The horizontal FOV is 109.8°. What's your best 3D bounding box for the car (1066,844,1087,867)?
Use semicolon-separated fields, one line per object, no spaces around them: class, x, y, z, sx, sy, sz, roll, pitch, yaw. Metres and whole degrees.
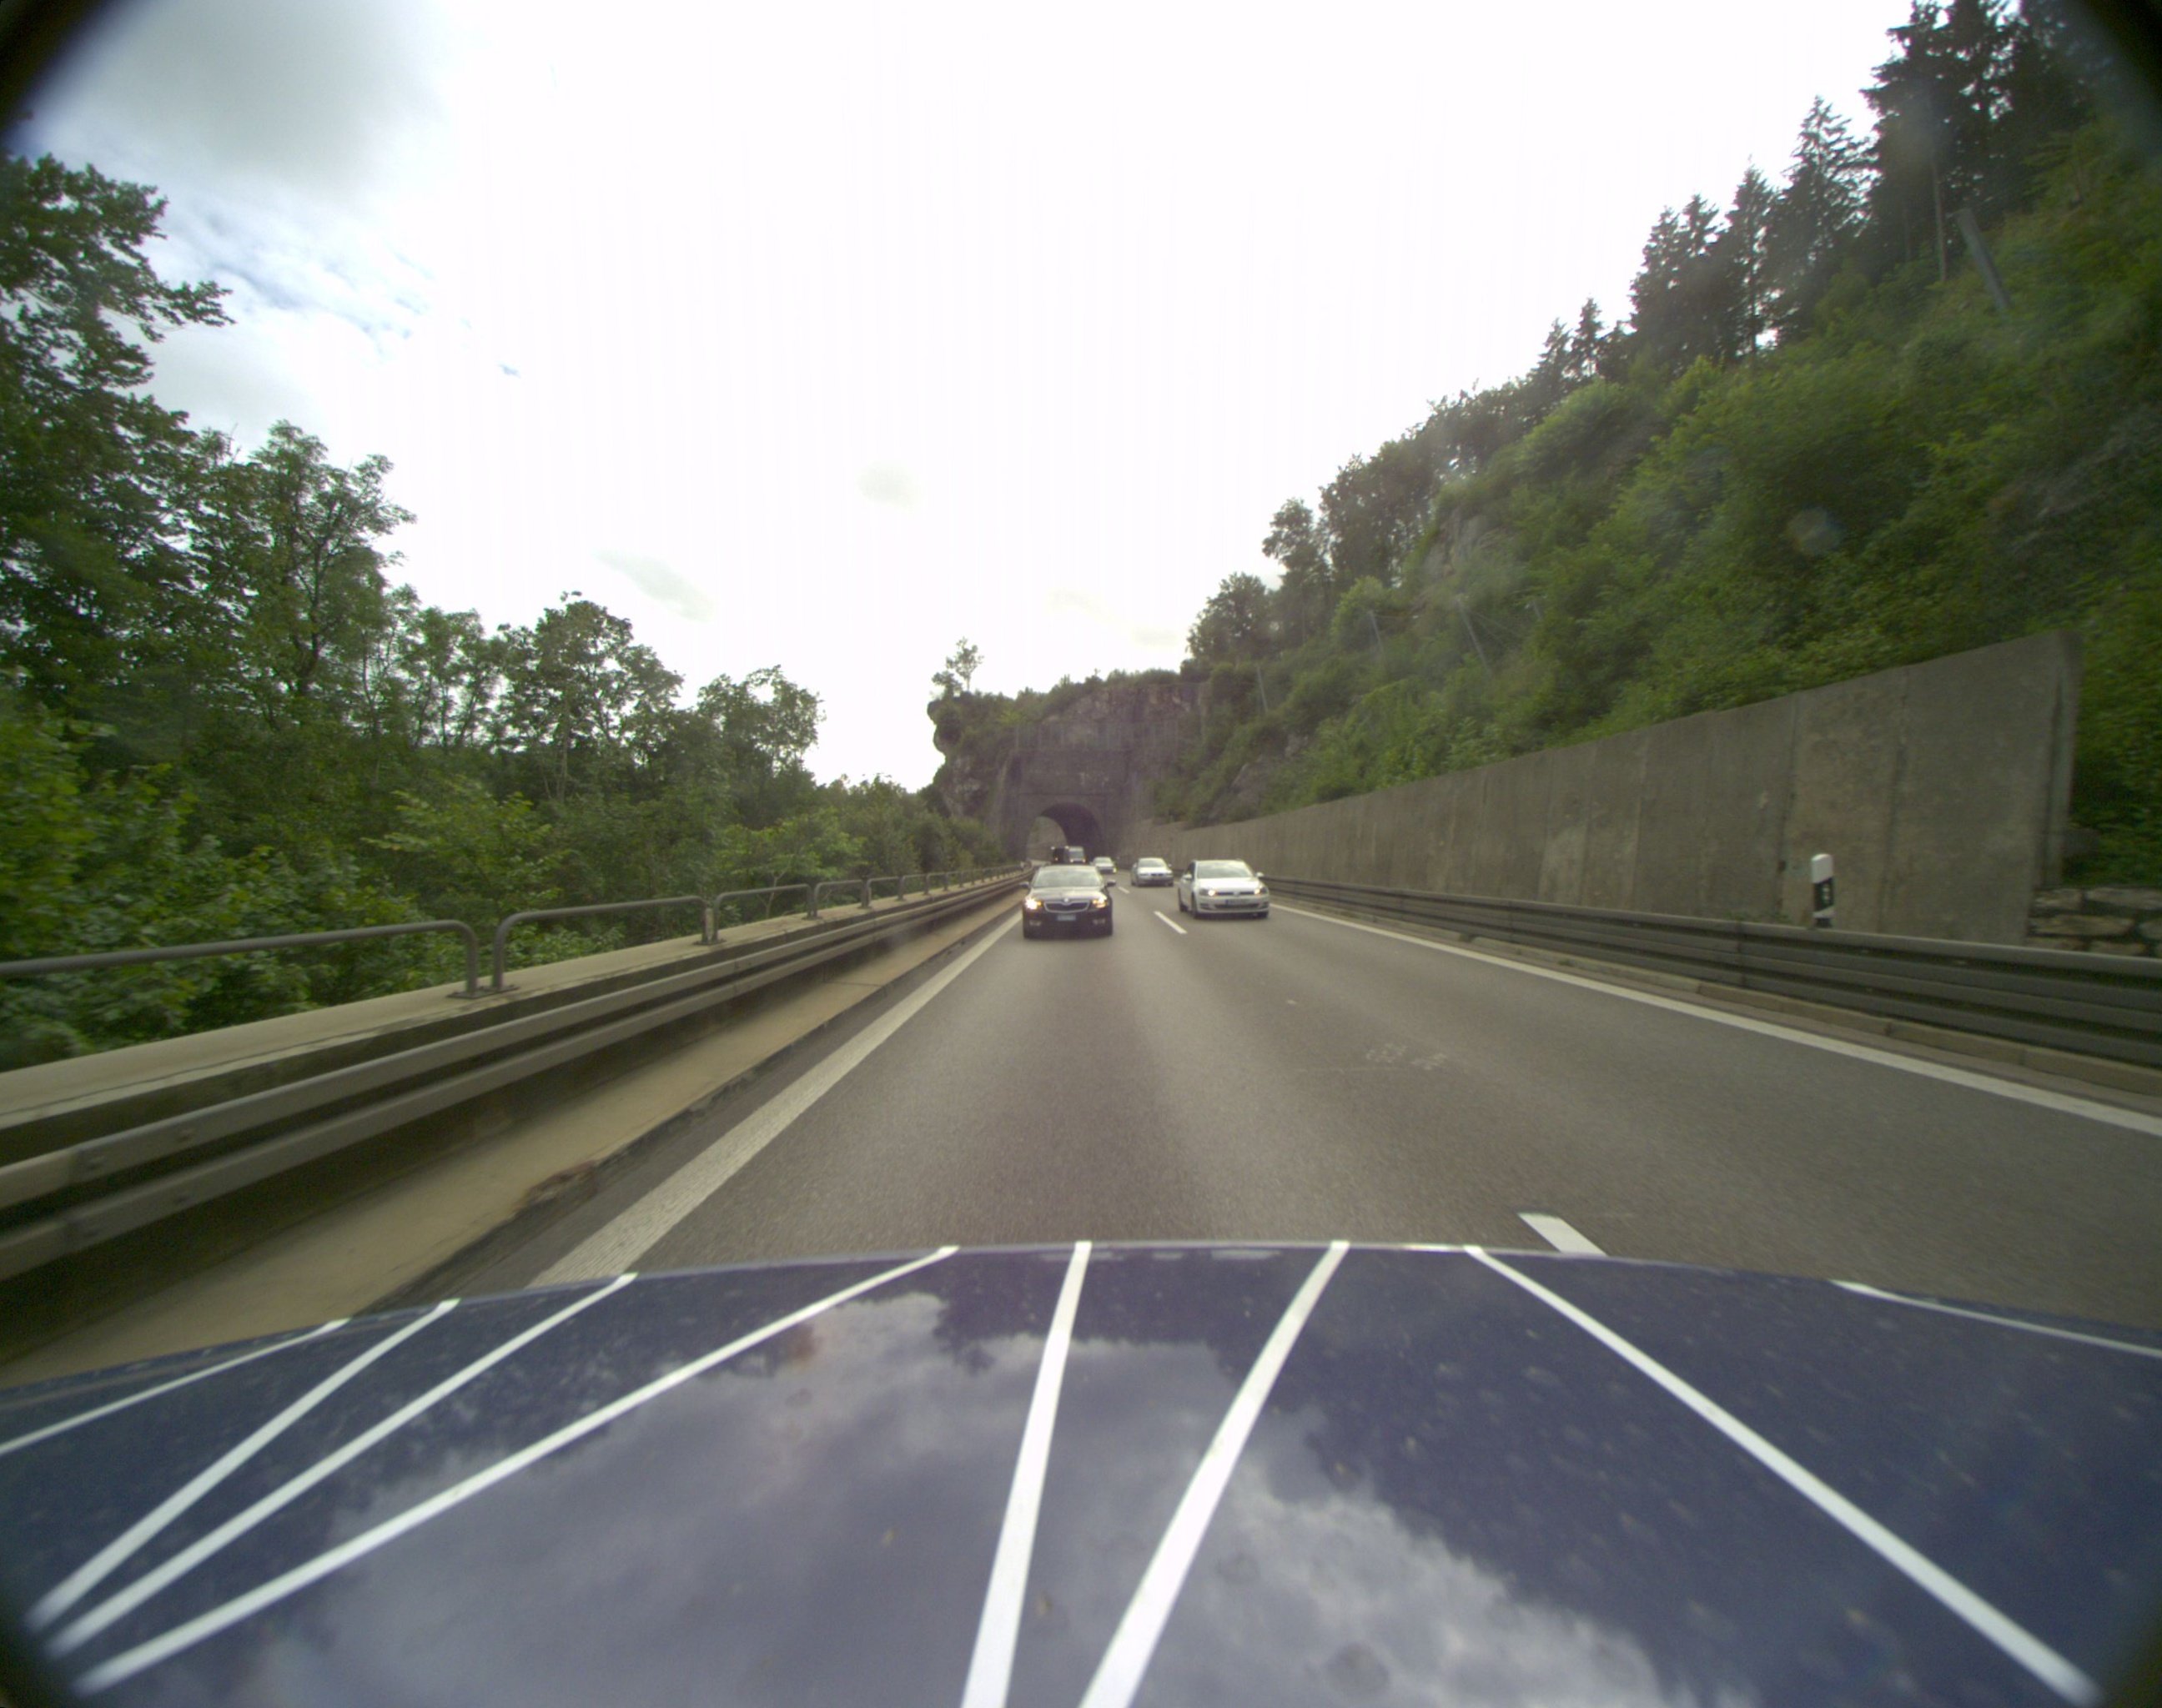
car;-0.526;0.175;87.600;1.869;2.444;4.980;-3;2;-5

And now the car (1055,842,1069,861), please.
car;-2.705;-0.363;107.616;1.869;2.444;4.981;-3;2;-2

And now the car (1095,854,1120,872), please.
car;2.324;0.783;66.939;1.923;1.452;4.230;-3;0;-2

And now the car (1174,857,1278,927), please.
car;3.570;0.864;19.553;1.849;1.473;4.627;-1;1;1

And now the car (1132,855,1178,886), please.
car;3.818;0.844;39.895;1.833;1.448;5.135;-3;0;0

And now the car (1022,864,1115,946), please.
car;-0.189;0.979;16.444;1.677;1.418;4.473;-3;0;1
